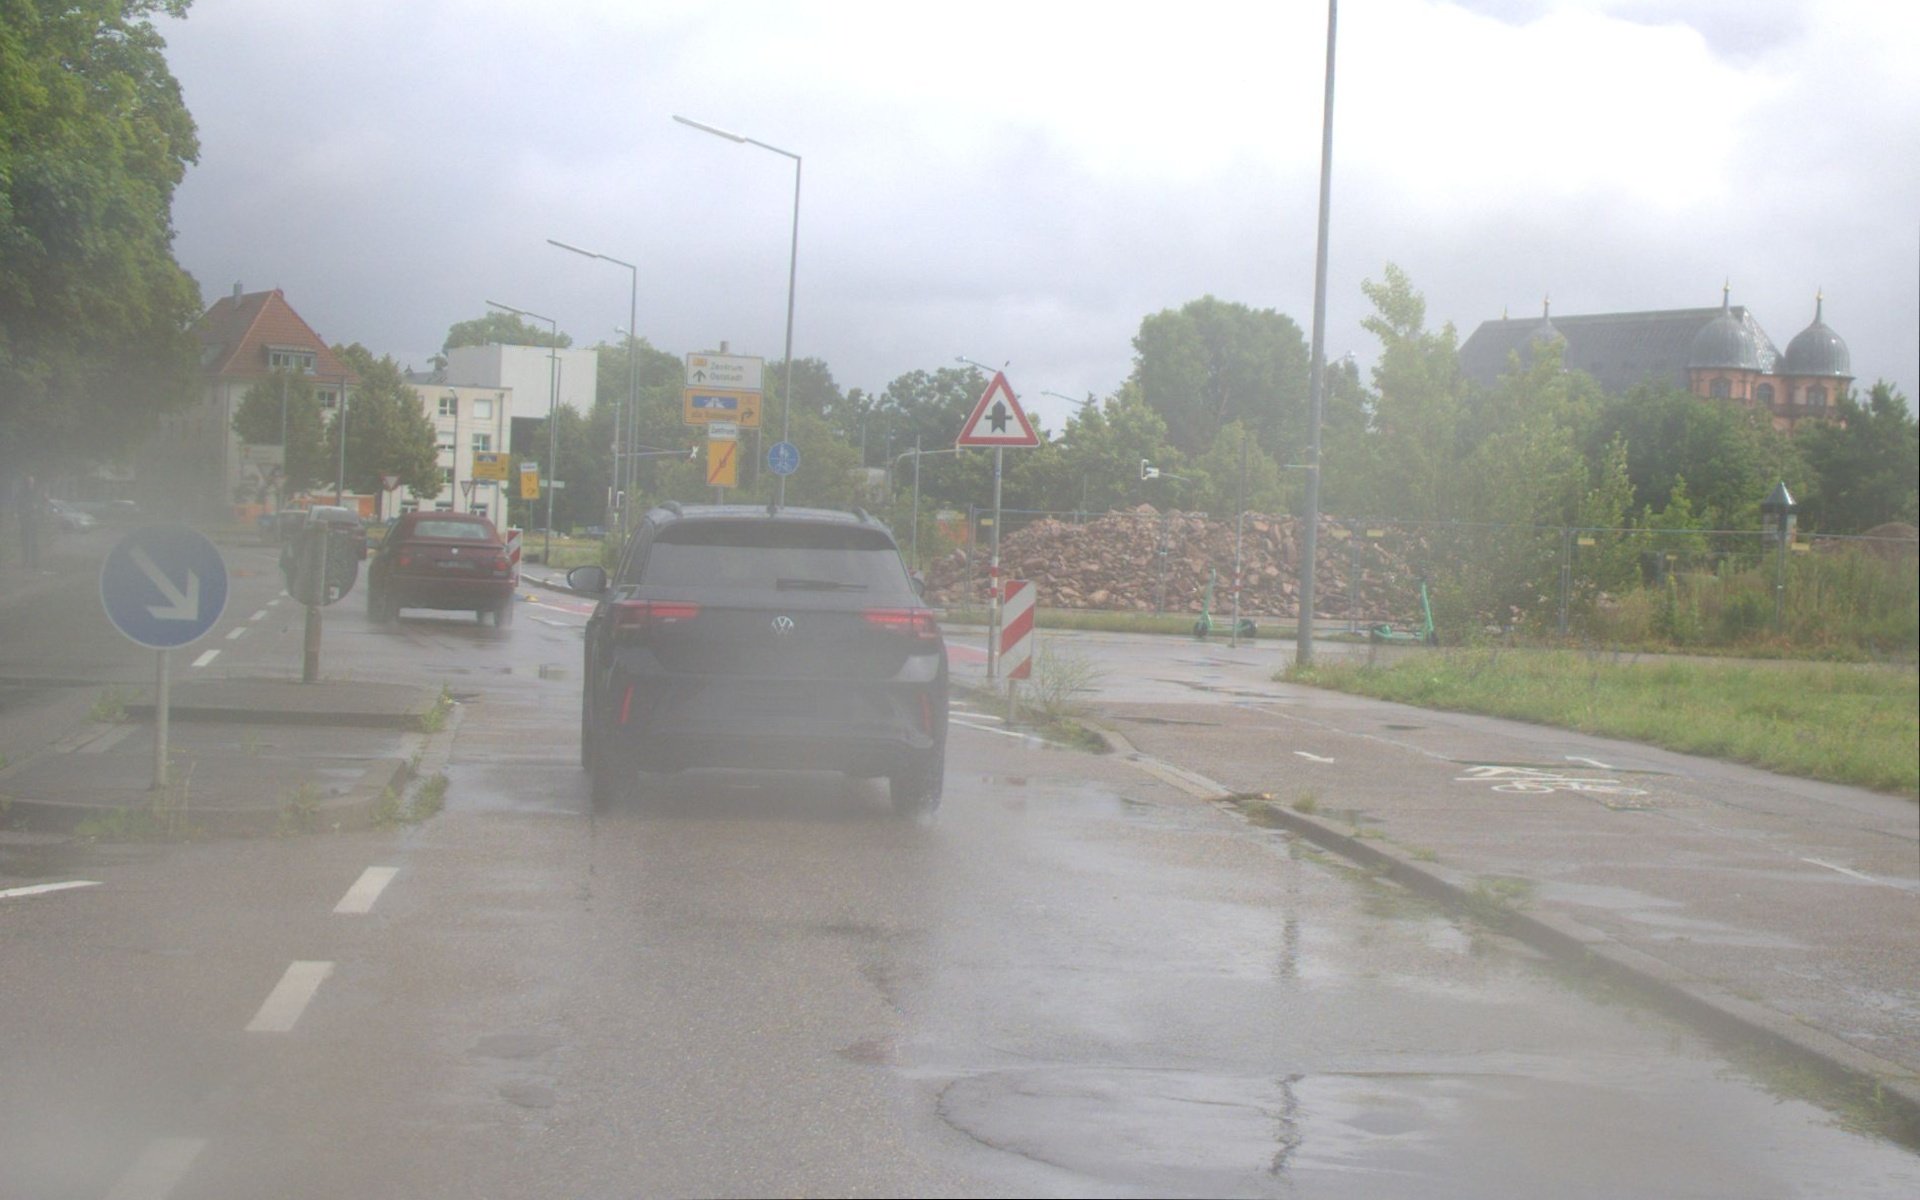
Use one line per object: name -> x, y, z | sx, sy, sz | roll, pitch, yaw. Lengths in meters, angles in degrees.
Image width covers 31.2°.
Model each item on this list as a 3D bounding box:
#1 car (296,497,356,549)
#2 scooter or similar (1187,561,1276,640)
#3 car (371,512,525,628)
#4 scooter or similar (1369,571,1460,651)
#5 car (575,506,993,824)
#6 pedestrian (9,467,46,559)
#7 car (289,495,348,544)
car -> -21.185, -2.578, 114.802 | 1.840, 1.635, 4.017 | 2, 1, -12
scooter or similar -> 4.496, 0.000, 56.904 | 1.282, 1.183, 0.502 | 6, 3, 30
car -> -6.700, -0.389, 44.732 | 1.841, 1.437, 4.001 | 0, 0, -11
scooter or similar -> 7.434, 0.173, 56.249 | 1.282, 1.183, 0.502 | 6, 3, 30
car -> -1.058, 0.271, 18.466 | 1.986, 1.515, 4.001 | 0, 1, -7
pedestrian -> -17.842, -1.668, 65.763 | 0.524, 1.695, 0.566 | 4, 2, -11
car -> -23.605, -2.948, 126.356 | 1.995, 1.697, 4.017 | 2, 1, -12
